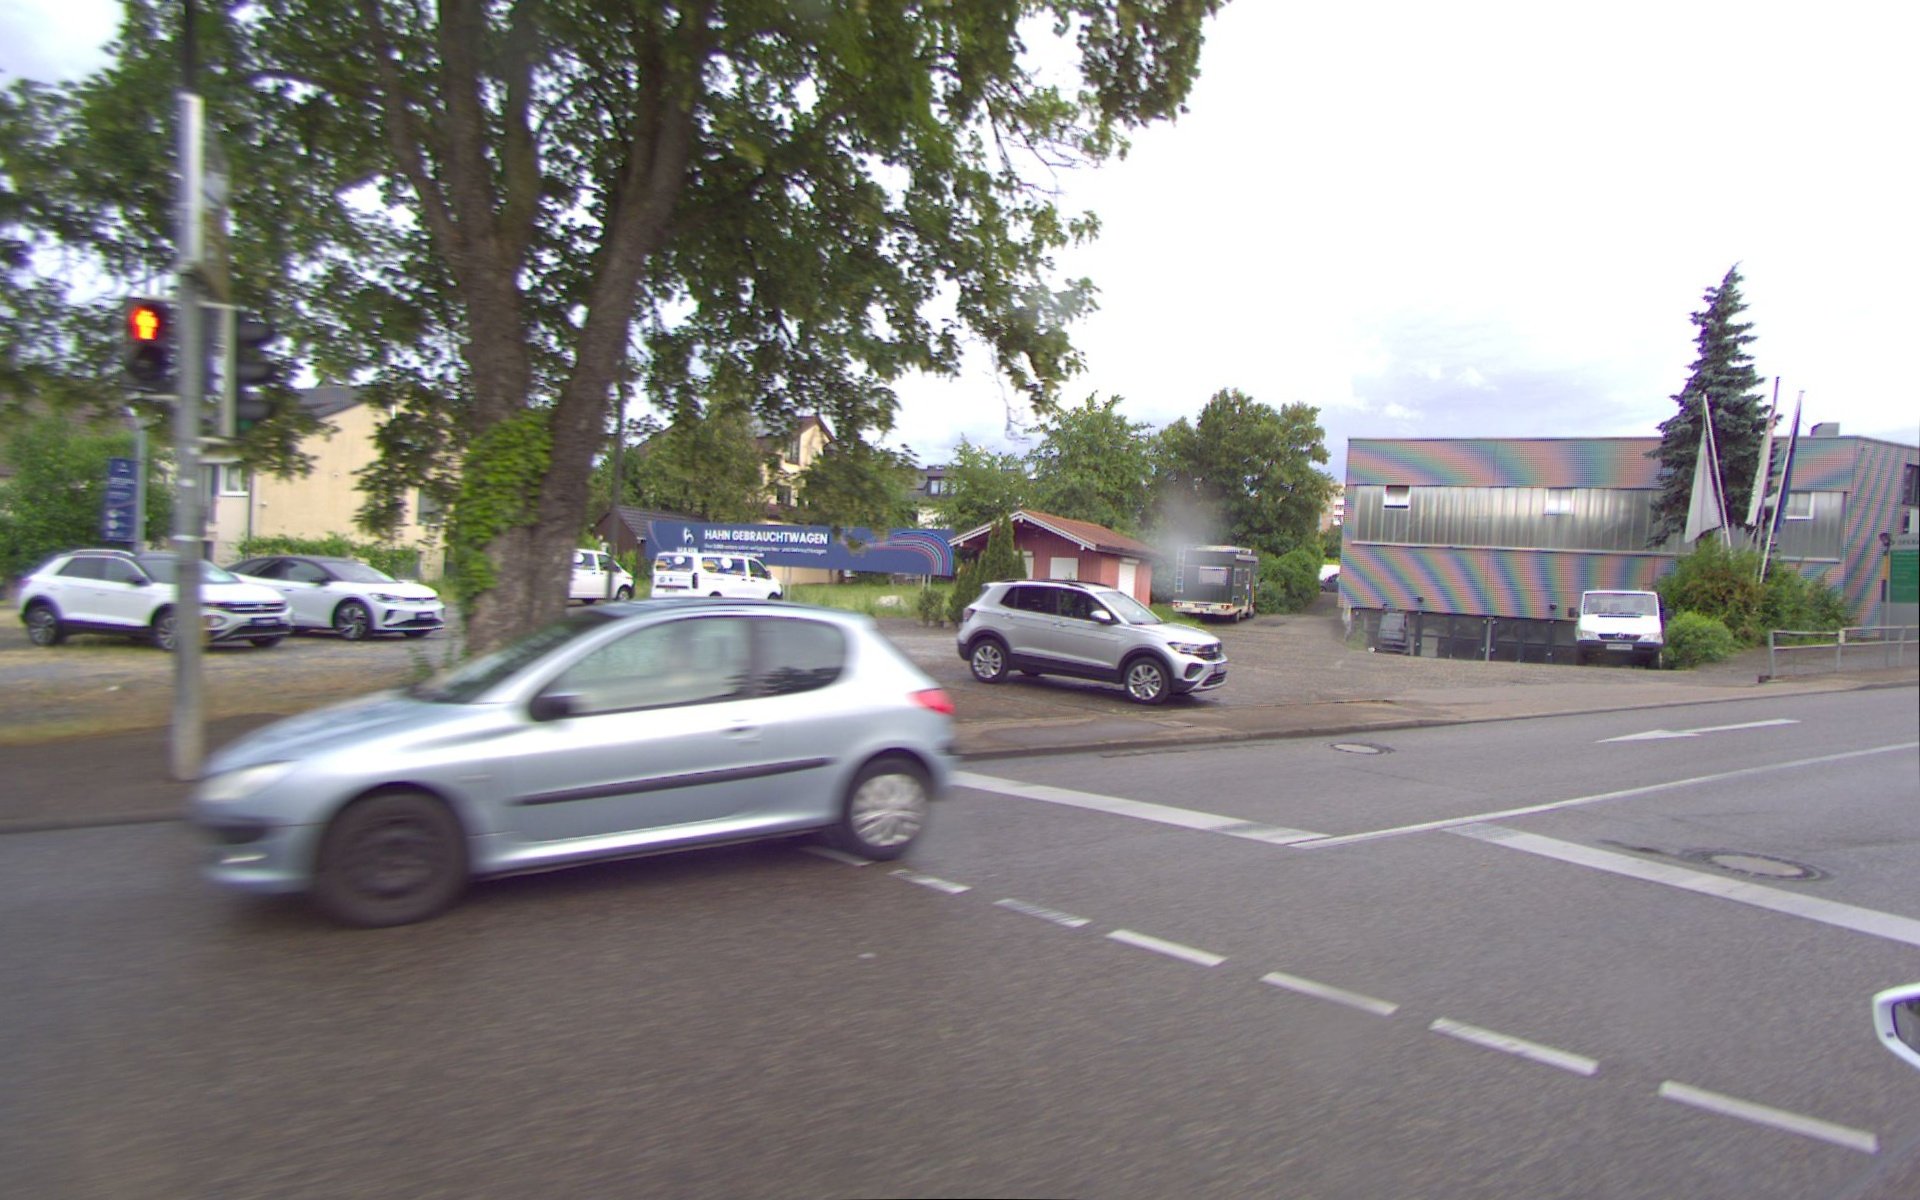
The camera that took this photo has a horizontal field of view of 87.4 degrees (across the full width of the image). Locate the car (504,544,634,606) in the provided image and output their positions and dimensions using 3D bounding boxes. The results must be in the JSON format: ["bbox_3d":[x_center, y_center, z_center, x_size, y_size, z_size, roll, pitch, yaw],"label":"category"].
[{"bbox_3d":[-13.538,-0.834,35.040,1.691,2.014,4.270,2,1,24],"label":"car"}]

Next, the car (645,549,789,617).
[{"bbox_3d":[-7.811,-0.539,32.796,1.924,2.014,4.867,2,1,25],"label":"car"}]

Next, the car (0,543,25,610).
[{"bbox_3d":[-23.972,-0.581,22.567,1.760,1.575,4.033,3,1,32],"label":"car"}]

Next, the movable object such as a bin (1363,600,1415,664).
[{"bbox_3d":[15.936,1.121,37.287,1.632,2.041,3.996,2,3,24],"label":"movable object such as a bin"}]

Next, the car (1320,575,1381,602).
[{"bbox_3d":[29.942,-0.887,76.978,4.200,1.896,2.062,2,2,24],"label":"car"}]

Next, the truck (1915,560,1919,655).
[{"bbox_3d":[30.785,0.163,28.887,7.781,2.668,1.988,-1,2,-24],"label":"truck"}]

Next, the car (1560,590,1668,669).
[{"bbox_3d":[17.864,0.710,27.352,2.032,1.896,4.263,3,2,38],"label":"car"}]

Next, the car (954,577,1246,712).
[{"bbox_3d":[2.055,0.550,15.094,3.937,1.591,1.717,4,3,31],"label":"car"}]

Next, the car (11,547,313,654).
[{"bbox_3d":[-13.190,-0.019,16.686,3.962,1.530,1.791,2,1,11],"label":"car"}]

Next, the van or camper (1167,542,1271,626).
[{"bbox_3d":[10.880,-0.777,41.564,2.431,2.934,8.109,7,5,25],"label":"van or camper"}]

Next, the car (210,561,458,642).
[{"bbox_3d":[-12.436,0.004,20.070,3.928,1.434,1.830,2,1,8],"label":"car"}]

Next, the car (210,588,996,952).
[{"bbox_3d":[-1.773,0.675,5.562,3.662,1.399,1.636,1,1,-32],"label":"car"}]
